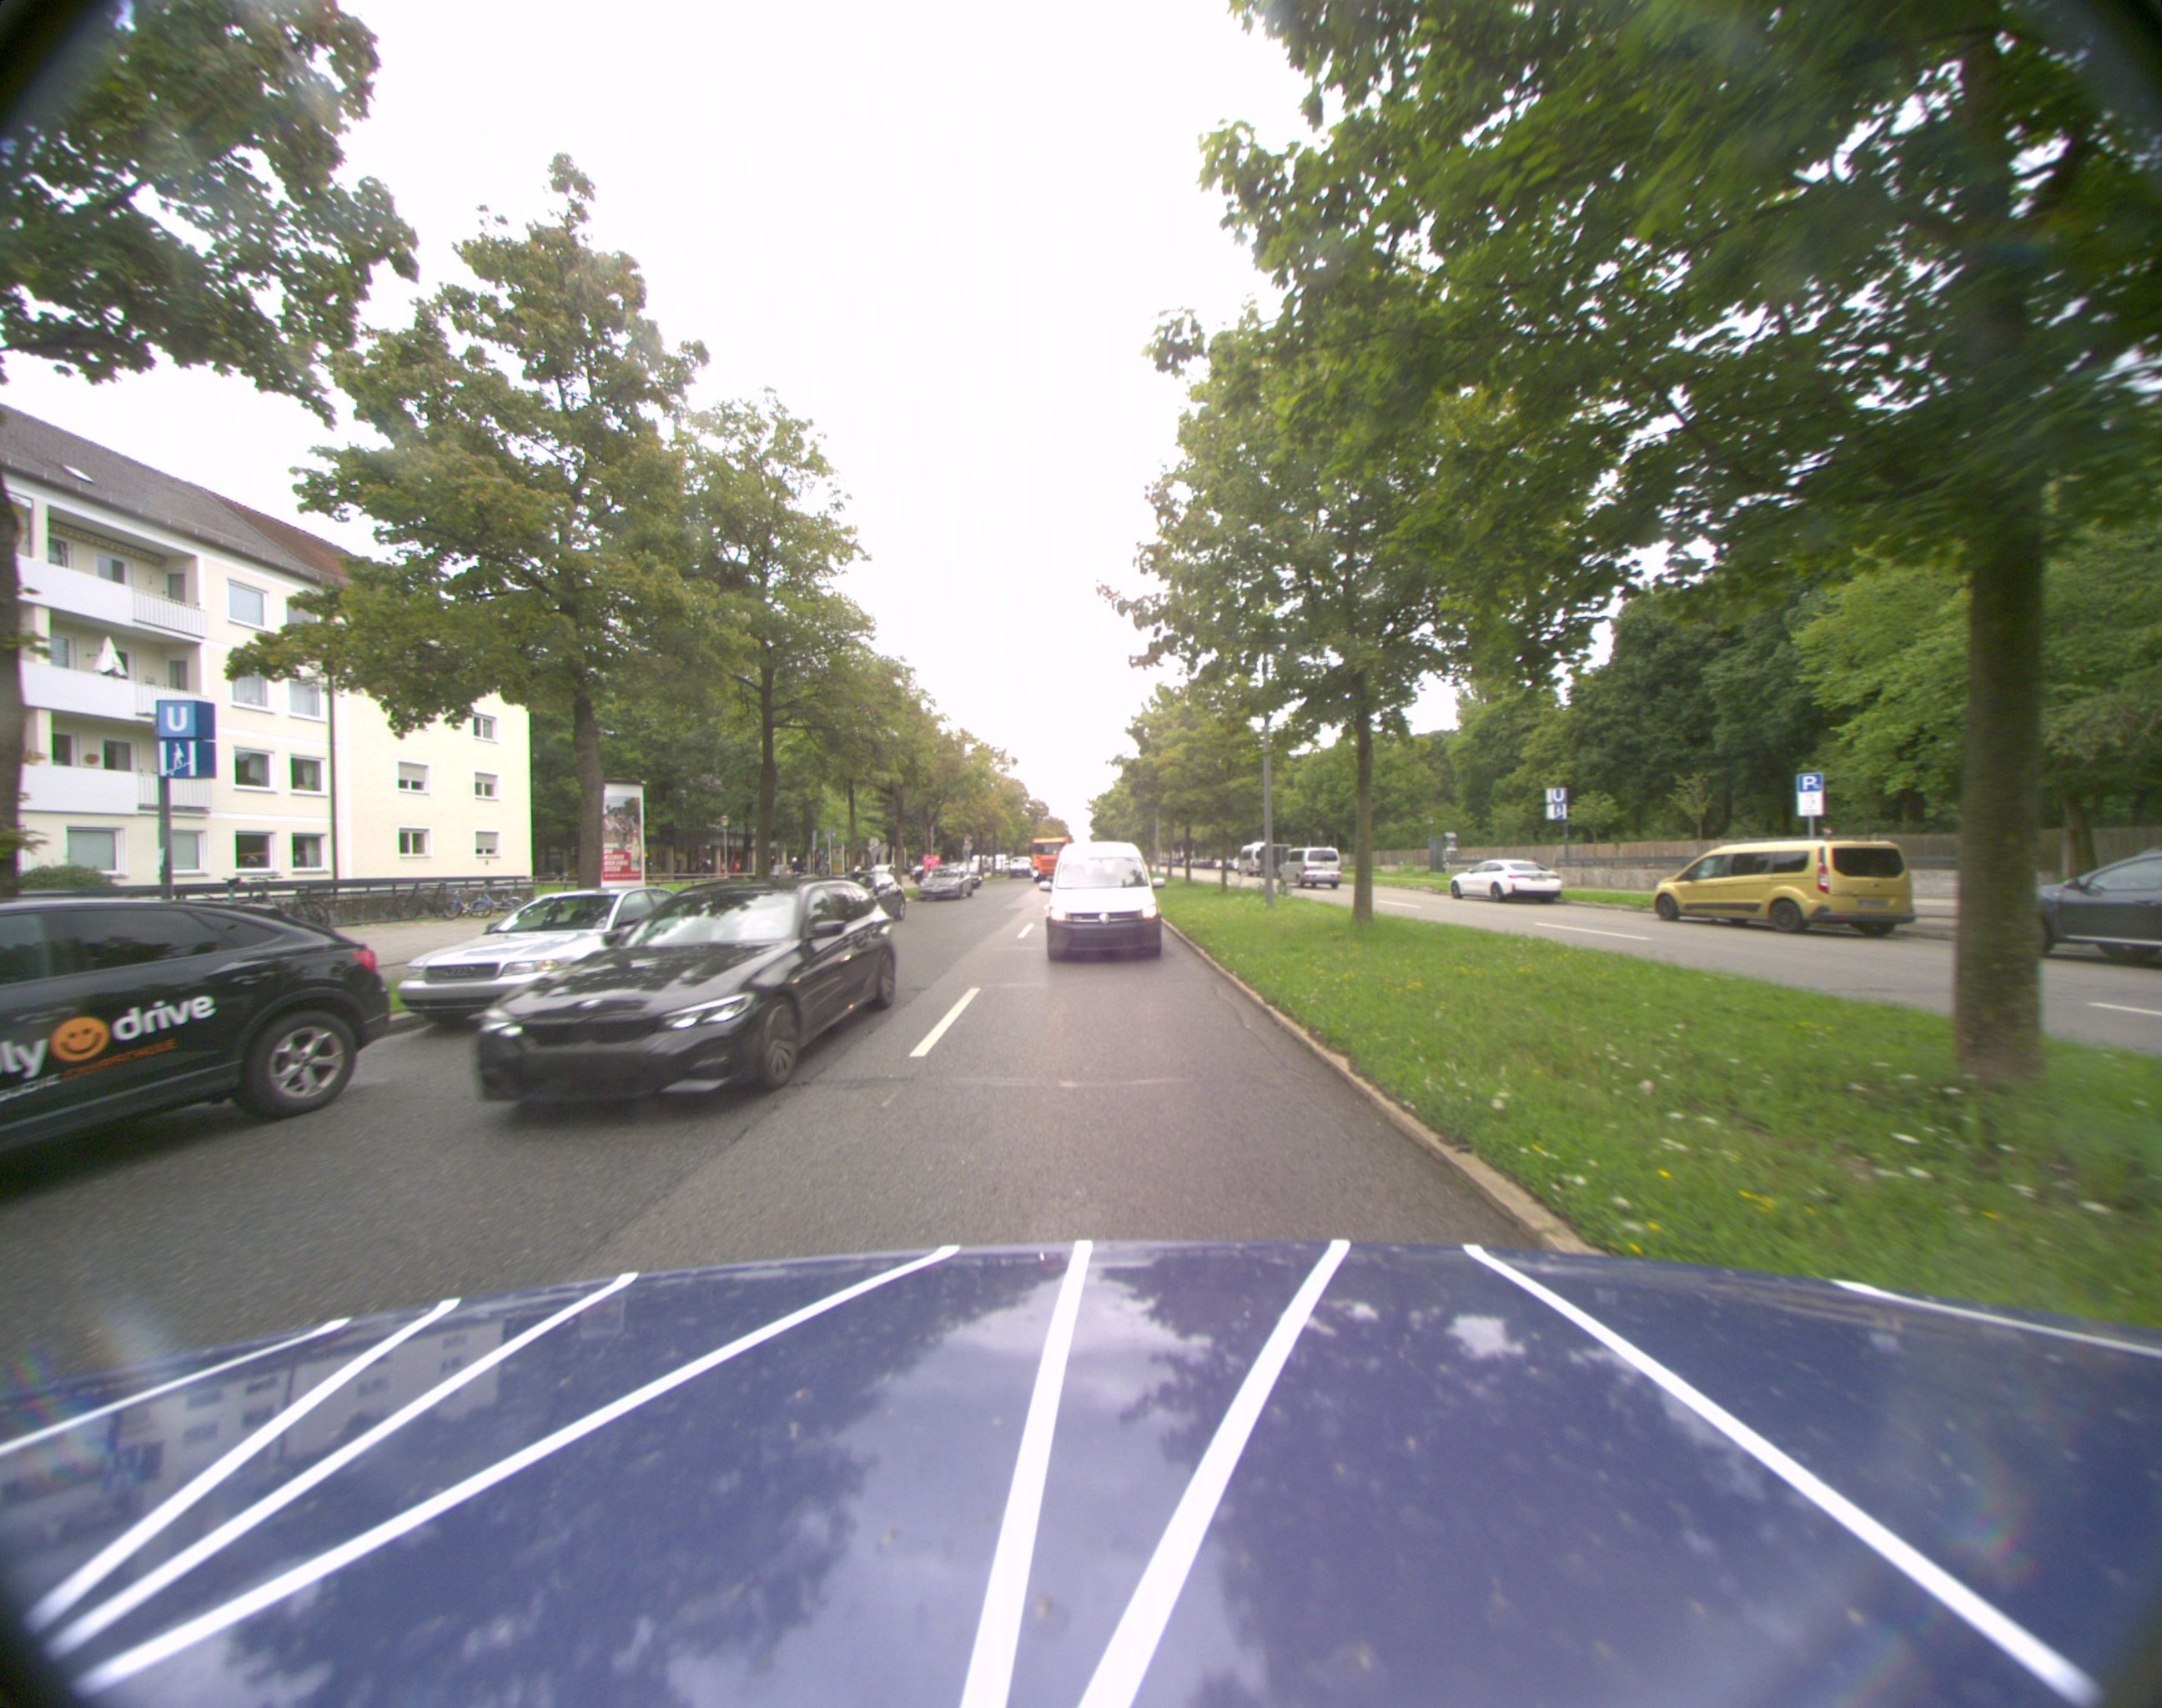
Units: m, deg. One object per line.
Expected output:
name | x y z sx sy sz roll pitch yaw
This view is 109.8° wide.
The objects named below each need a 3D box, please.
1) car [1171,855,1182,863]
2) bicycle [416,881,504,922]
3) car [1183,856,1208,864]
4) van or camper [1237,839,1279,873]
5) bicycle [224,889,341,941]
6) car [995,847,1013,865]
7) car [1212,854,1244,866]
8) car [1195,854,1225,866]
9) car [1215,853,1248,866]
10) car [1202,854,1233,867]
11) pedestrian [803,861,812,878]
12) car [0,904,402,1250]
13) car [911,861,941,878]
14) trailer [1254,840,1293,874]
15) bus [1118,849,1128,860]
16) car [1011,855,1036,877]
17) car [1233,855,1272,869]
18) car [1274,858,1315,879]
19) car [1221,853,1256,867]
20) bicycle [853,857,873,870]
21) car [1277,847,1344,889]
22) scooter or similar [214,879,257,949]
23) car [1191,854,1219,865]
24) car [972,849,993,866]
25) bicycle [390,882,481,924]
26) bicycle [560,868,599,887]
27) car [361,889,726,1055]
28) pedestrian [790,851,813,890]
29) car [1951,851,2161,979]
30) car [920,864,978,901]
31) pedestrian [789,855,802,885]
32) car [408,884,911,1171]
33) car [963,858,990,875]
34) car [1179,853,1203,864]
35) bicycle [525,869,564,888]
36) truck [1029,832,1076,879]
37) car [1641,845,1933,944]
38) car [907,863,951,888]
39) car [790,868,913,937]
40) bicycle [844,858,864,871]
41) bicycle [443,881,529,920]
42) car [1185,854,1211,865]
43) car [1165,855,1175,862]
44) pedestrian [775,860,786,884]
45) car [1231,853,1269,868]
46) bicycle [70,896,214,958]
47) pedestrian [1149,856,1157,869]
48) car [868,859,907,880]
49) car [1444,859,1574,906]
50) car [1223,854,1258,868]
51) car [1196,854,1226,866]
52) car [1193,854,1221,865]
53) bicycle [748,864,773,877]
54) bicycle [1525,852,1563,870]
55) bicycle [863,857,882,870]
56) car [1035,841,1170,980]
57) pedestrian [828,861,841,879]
car | 18.530 1.034 146.855 1.889 1.435 4.170 -2 0 5
bicycle | -16.512 1.258 20.239 1.883 1.022 0.432 0 1 -5
car | 19.404 1.015 129.052 4.006 1.358 1.588 -2 1 -30
van or camper | 15.279 0.168 66.171 2.040 2.821 7.547 0 0 1
bicycle | -16.506 1.256 15.720 1.882 1.022 0.432 0 1 -2
car | -11.996 0.307 118.434 1.978 2.641 6.006 -3 0 1
car | 20.249 0.874 104.625 4.005 1.446 1.737 -3 0 -27
car | 18.726 0.888 110.125 4.006 1.548 1.887 -3 -1 -31
car | 20.149 0.734 101.576 4.005 1.455 1.888 -3 0 -27
car | 19.333 0.878 107.550 4.005 1.548 1.888 -3 0 -27
pedestrian | -24.197 1.373 67.170 0.633 1.533 0.659 1 1 -32
car | -6.081 1.176 3.636 1.721 1.524 4.275 -3 0 1
car | -15.163 1.476 74.524 1.826 1.522 4.603 0 0 3
trailer | 15.167 0.267 60.117 2.022 2.575 4.659 0 0 1
bus | 12.346 0.068 223.428 2.676 3.279 11.926 0 0 2
car | -5.405 1.069 71.944 1.886 1.916 4.933 -3 0 1
car | 19.341 0.869 85.651 4.331 1.430 1.797 -2 1 -33
car | 15.292 1.019 54.542 1.804 1.376 4.238 0 0 1
car | 19.750 0.741 95.281 4.005 1.577 1.798 -3 0 -28
bicycle | -27.920 1.199 97.191 2.313 1.613 0.649 -1 0 1
car | 11.328 0.631 37.881 1.804 1.922 4.993 0 0 0
scooter or similar | -15.701 1.086 14.125 0.359 1.193 1.386 -1 1 -41
car | 19.654 0.896 120.249 4.006 1.548 1.887 -3 -1 -31
car | -15.052 0.482 116.267 2.268 2.514 5.858 -1 0 1
bicycle | -16.439 1.251 19.373 1.882 1.022 0.432 0 1 -2
bicycle | -26.694 1.250 40.458 1.696 0.965 0.455 -1 0 -3
car | -6.245 1.246 9.563 1.640 1.377 4.243 -3 0 -2
pedestrian | -12.528 0.744 34.110 0.640 1.739 0.849 1 0 6
car | 14.693 0.788 9.945 1.741 1.636 4.256 0 0 0
car | -5.794 1.213 33.796 1.686 1.457 4.115 -3 0 2
pedestrian | -16.875 0.941 44.917 0.642 1.720 0.600 -2 1 -25
car | -2.923 1.089 6.594 1.763 1.405 4.462 -3 0 1
car | -9.449 1.110 68.856 1.732 1.424 4.691 -2 0 1
car | 19.627 0.831 135.669 4.006 1.718 1.777 -2 1 -33
bicycle | -28.478 1.309 40.340 1.696 0.965 0.455 -1 0 -3
truck | -2.038 0.105 57.529 3.046 3.170 9.133 -2 0 0
car | 14.526 0.736 16.142 1.819 1.772 4.818 0 0 2
car | -9.799 1.363 49.158 1.726 1.371 4.352 -2 0 3
car | -5.843 1.179 19.869 1.755 1.457 4.176 -3 0 2
bicycle | -28.391 1.275 94.990 2.313 1.523 0.649 -1 0 1
bicycle | -16.272 1.262 20.795 1.883 1.022 0.432 0 1 -7
car | 19.386 0.935 125.792 4.006 1.548 1.887 -3 -1 -31
car | 18.628 0.972 158.739 1.889 1.435 4.170 -2 0 5
pedestrian | -20.338 1.201 51.355 0.581 1.565 0.780 -2 1 -26
car | 19.876 0.786 89.304 4.331 1.564 1.797 -2 1 -33
bicycle | -16.417 1.268 13.306 1.882 1.022 0.432 0 1 -2
pedestrian | 9.069 1.068 96.036 0.872 1.689 0.771 0 2 21
car | -15.531 1.227 61.152 1.826 1.624 4.198 0 0 3
car | 14.950 0.939 26.918 1.861 1.464 4.875 0 0 0
car | 19.394 0.796 92.293 4.006 1.477 1.797 -3 -1 -34
car | 19.508 0.894 113.847 4.006 1.548 1.887 -3 -1 -31
car | 19.373 0.859 116.777 4.006 1.548 1.887 -3 -1 -31
bicycle | -29.127 1.485 69.000 2.080 1.114 0.455 -1 0 1
bicycle | 25.896 0.390 42.472 1.824 0.924 0.433 -2 1 0
bicycle | -27.990 1.280 101.990 2.316 1.613 0.648 -1 0 -16
car | 0.290 0.774 12.627 1.750 1.807 4.667 -3 0 0
pedestrian | -21.527 1.391 66.364 0.657 1.585 0.755 1 1 19
